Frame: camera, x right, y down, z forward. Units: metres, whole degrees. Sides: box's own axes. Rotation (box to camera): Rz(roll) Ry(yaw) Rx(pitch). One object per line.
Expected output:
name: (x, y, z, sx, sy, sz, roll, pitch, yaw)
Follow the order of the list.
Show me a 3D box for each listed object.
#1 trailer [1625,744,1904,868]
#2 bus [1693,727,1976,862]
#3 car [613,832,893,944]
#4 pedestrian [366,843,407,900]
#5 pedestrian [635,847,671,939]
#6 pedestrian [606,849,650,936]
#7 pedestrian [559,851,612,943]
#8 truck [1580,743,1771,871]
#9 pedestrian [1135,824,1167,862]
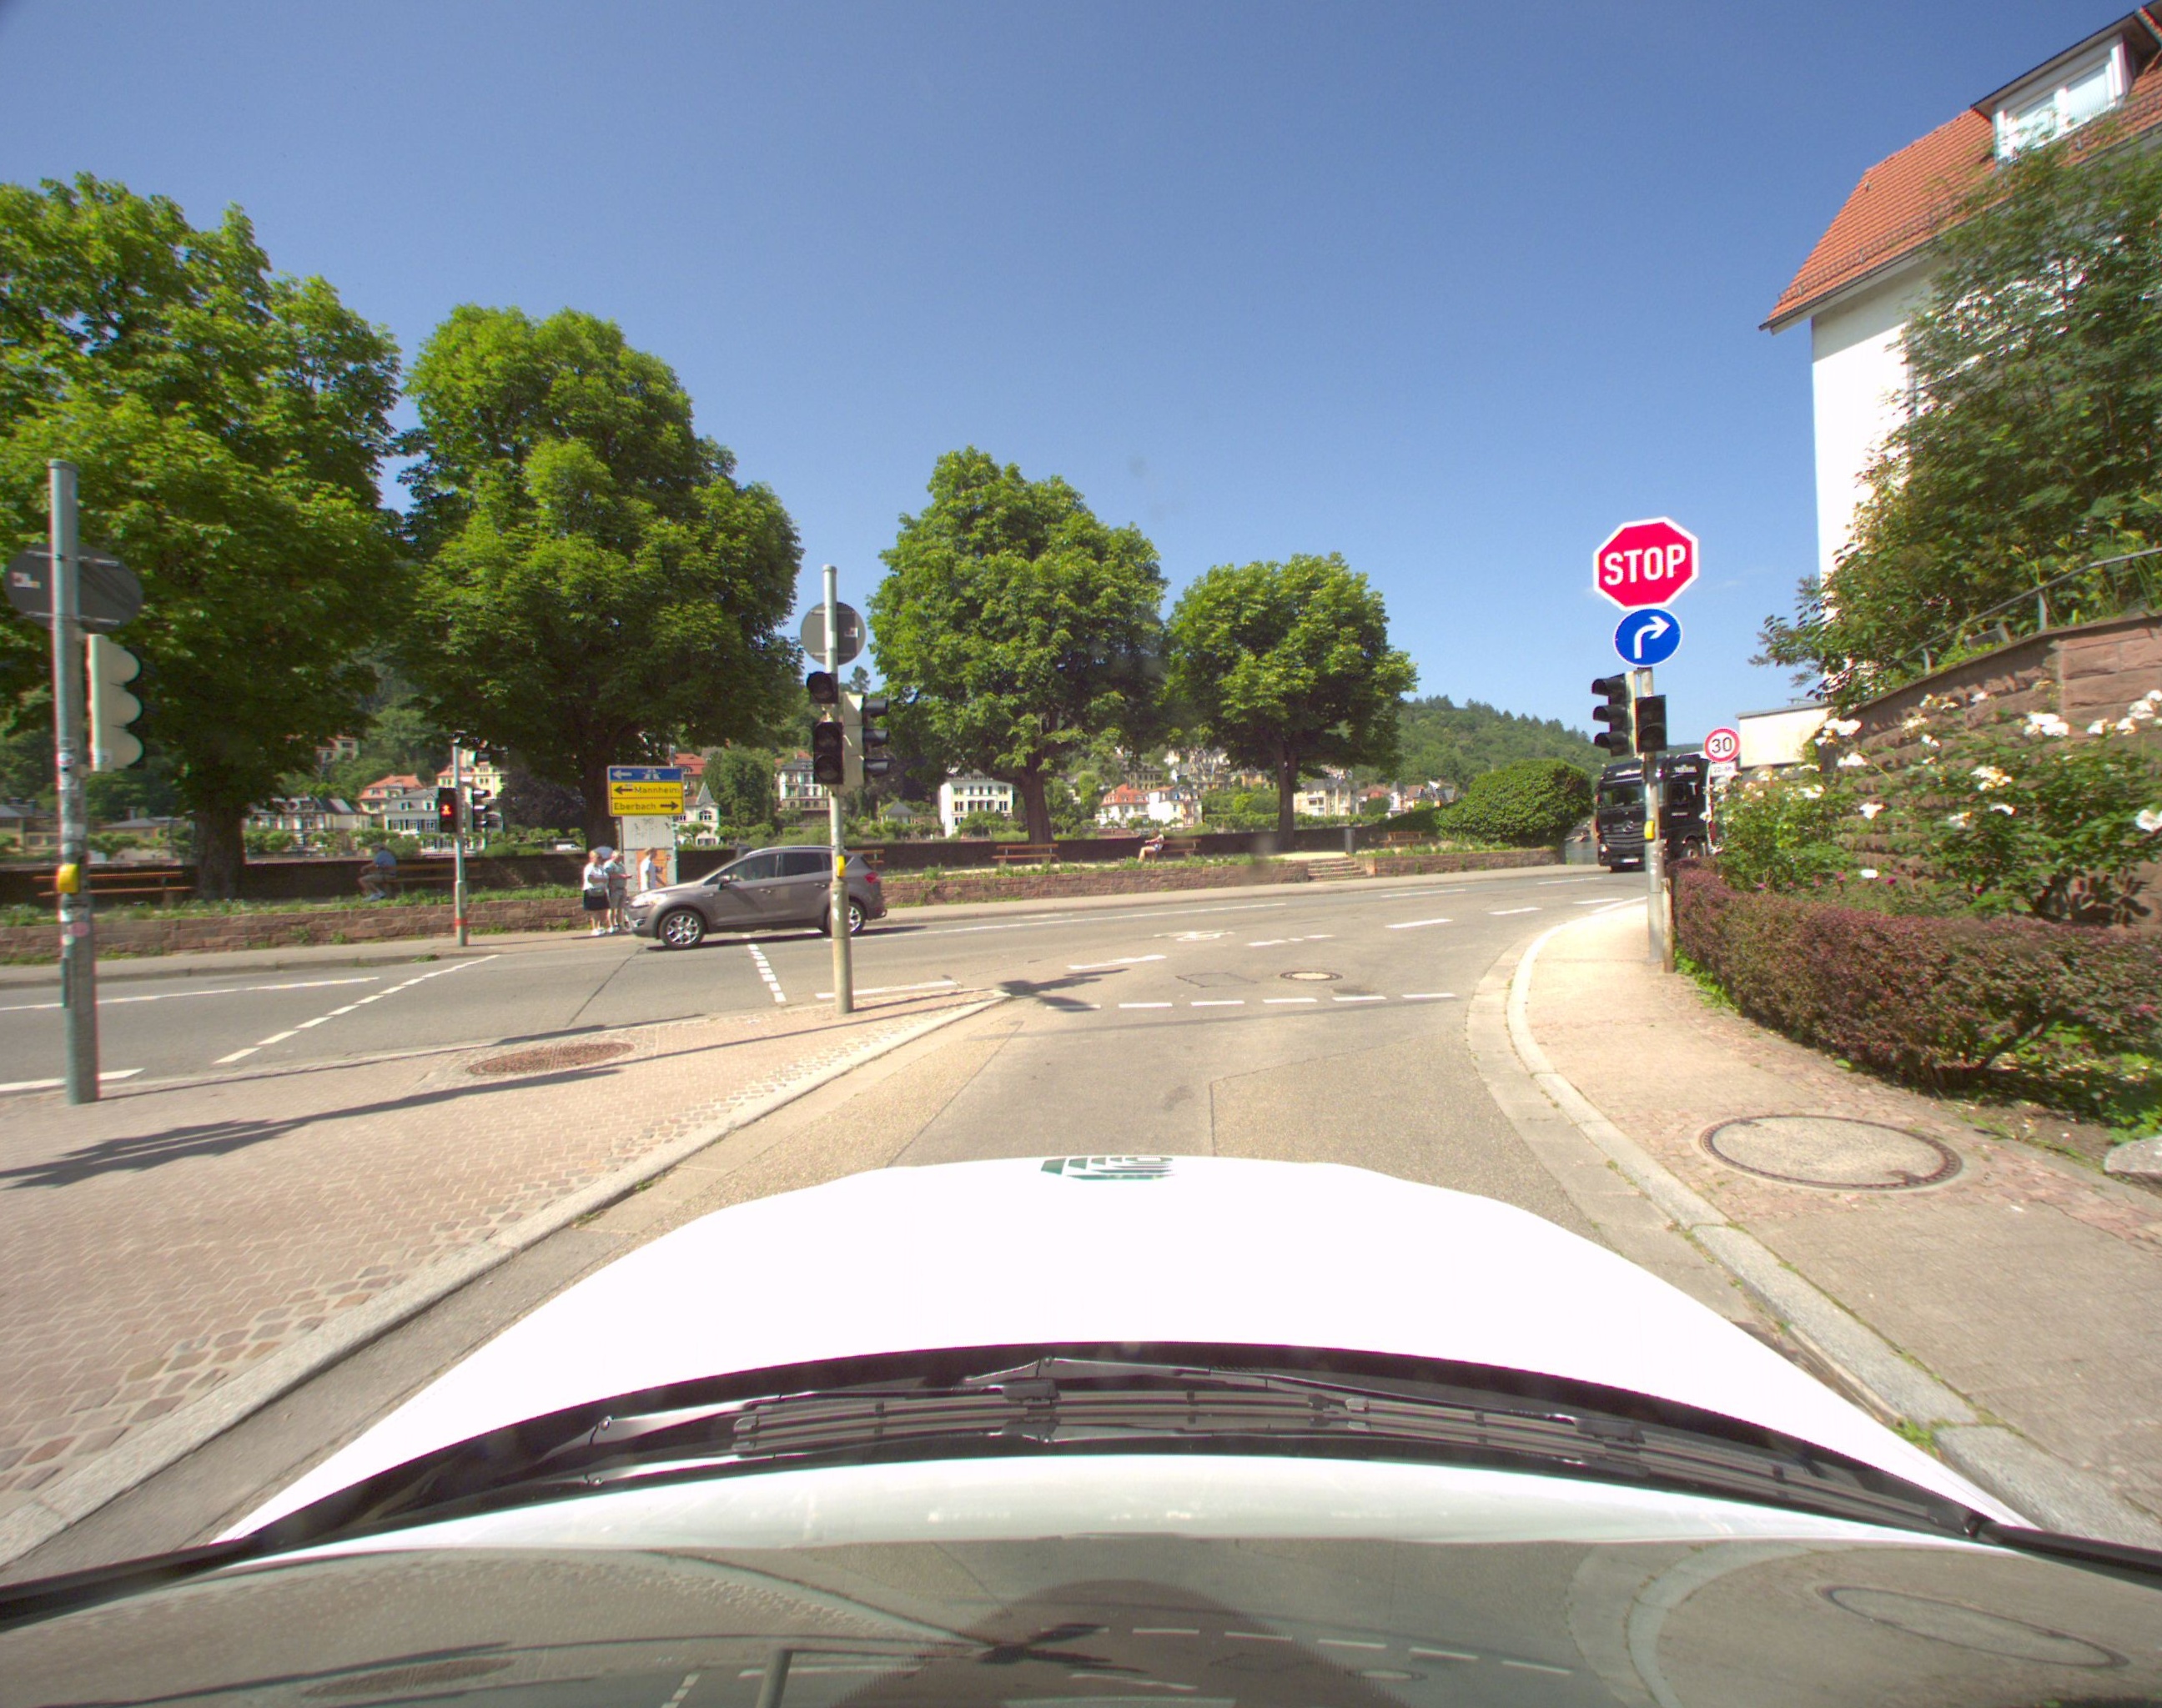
trailer: (26.907, -1.870, 31.707, 13.799, 4.104, 2.818, -2, -2, -26)
bus: (25.443, -1.875, 27.210, 12.208, 3.788, 2.881, -2, -1, -28)
car: (-5.856, 0.571, 14.724, 4.421, 1.754, 1.827, -1, -3, -28)
pedestrian: (-15.475, 0.388, 18.160, 0.647, 1.228, 0.409, -2, -1, -40)
pedestrian: (-8.682, 0.770, 16.511, 0.581, 1.802, 0.698, -2, -1, -29)
pedestrian: (-9.707, 0.818, 17.435, 0.693, 1.769, 0.710, -3, -1, -34)
pedestrian: (-10.147, 0.869, 16.677, 0.728, 1.802, 0.626, -3, -1, -44)
truck: (21.017, -1.610, 28.777, 5.944, 4.071, 2.815, -2, -2, -26)
pedestrian: (2.326, -0.344, 27.202, 0.801, 1.211, 0.710, 0, -4, -23)
